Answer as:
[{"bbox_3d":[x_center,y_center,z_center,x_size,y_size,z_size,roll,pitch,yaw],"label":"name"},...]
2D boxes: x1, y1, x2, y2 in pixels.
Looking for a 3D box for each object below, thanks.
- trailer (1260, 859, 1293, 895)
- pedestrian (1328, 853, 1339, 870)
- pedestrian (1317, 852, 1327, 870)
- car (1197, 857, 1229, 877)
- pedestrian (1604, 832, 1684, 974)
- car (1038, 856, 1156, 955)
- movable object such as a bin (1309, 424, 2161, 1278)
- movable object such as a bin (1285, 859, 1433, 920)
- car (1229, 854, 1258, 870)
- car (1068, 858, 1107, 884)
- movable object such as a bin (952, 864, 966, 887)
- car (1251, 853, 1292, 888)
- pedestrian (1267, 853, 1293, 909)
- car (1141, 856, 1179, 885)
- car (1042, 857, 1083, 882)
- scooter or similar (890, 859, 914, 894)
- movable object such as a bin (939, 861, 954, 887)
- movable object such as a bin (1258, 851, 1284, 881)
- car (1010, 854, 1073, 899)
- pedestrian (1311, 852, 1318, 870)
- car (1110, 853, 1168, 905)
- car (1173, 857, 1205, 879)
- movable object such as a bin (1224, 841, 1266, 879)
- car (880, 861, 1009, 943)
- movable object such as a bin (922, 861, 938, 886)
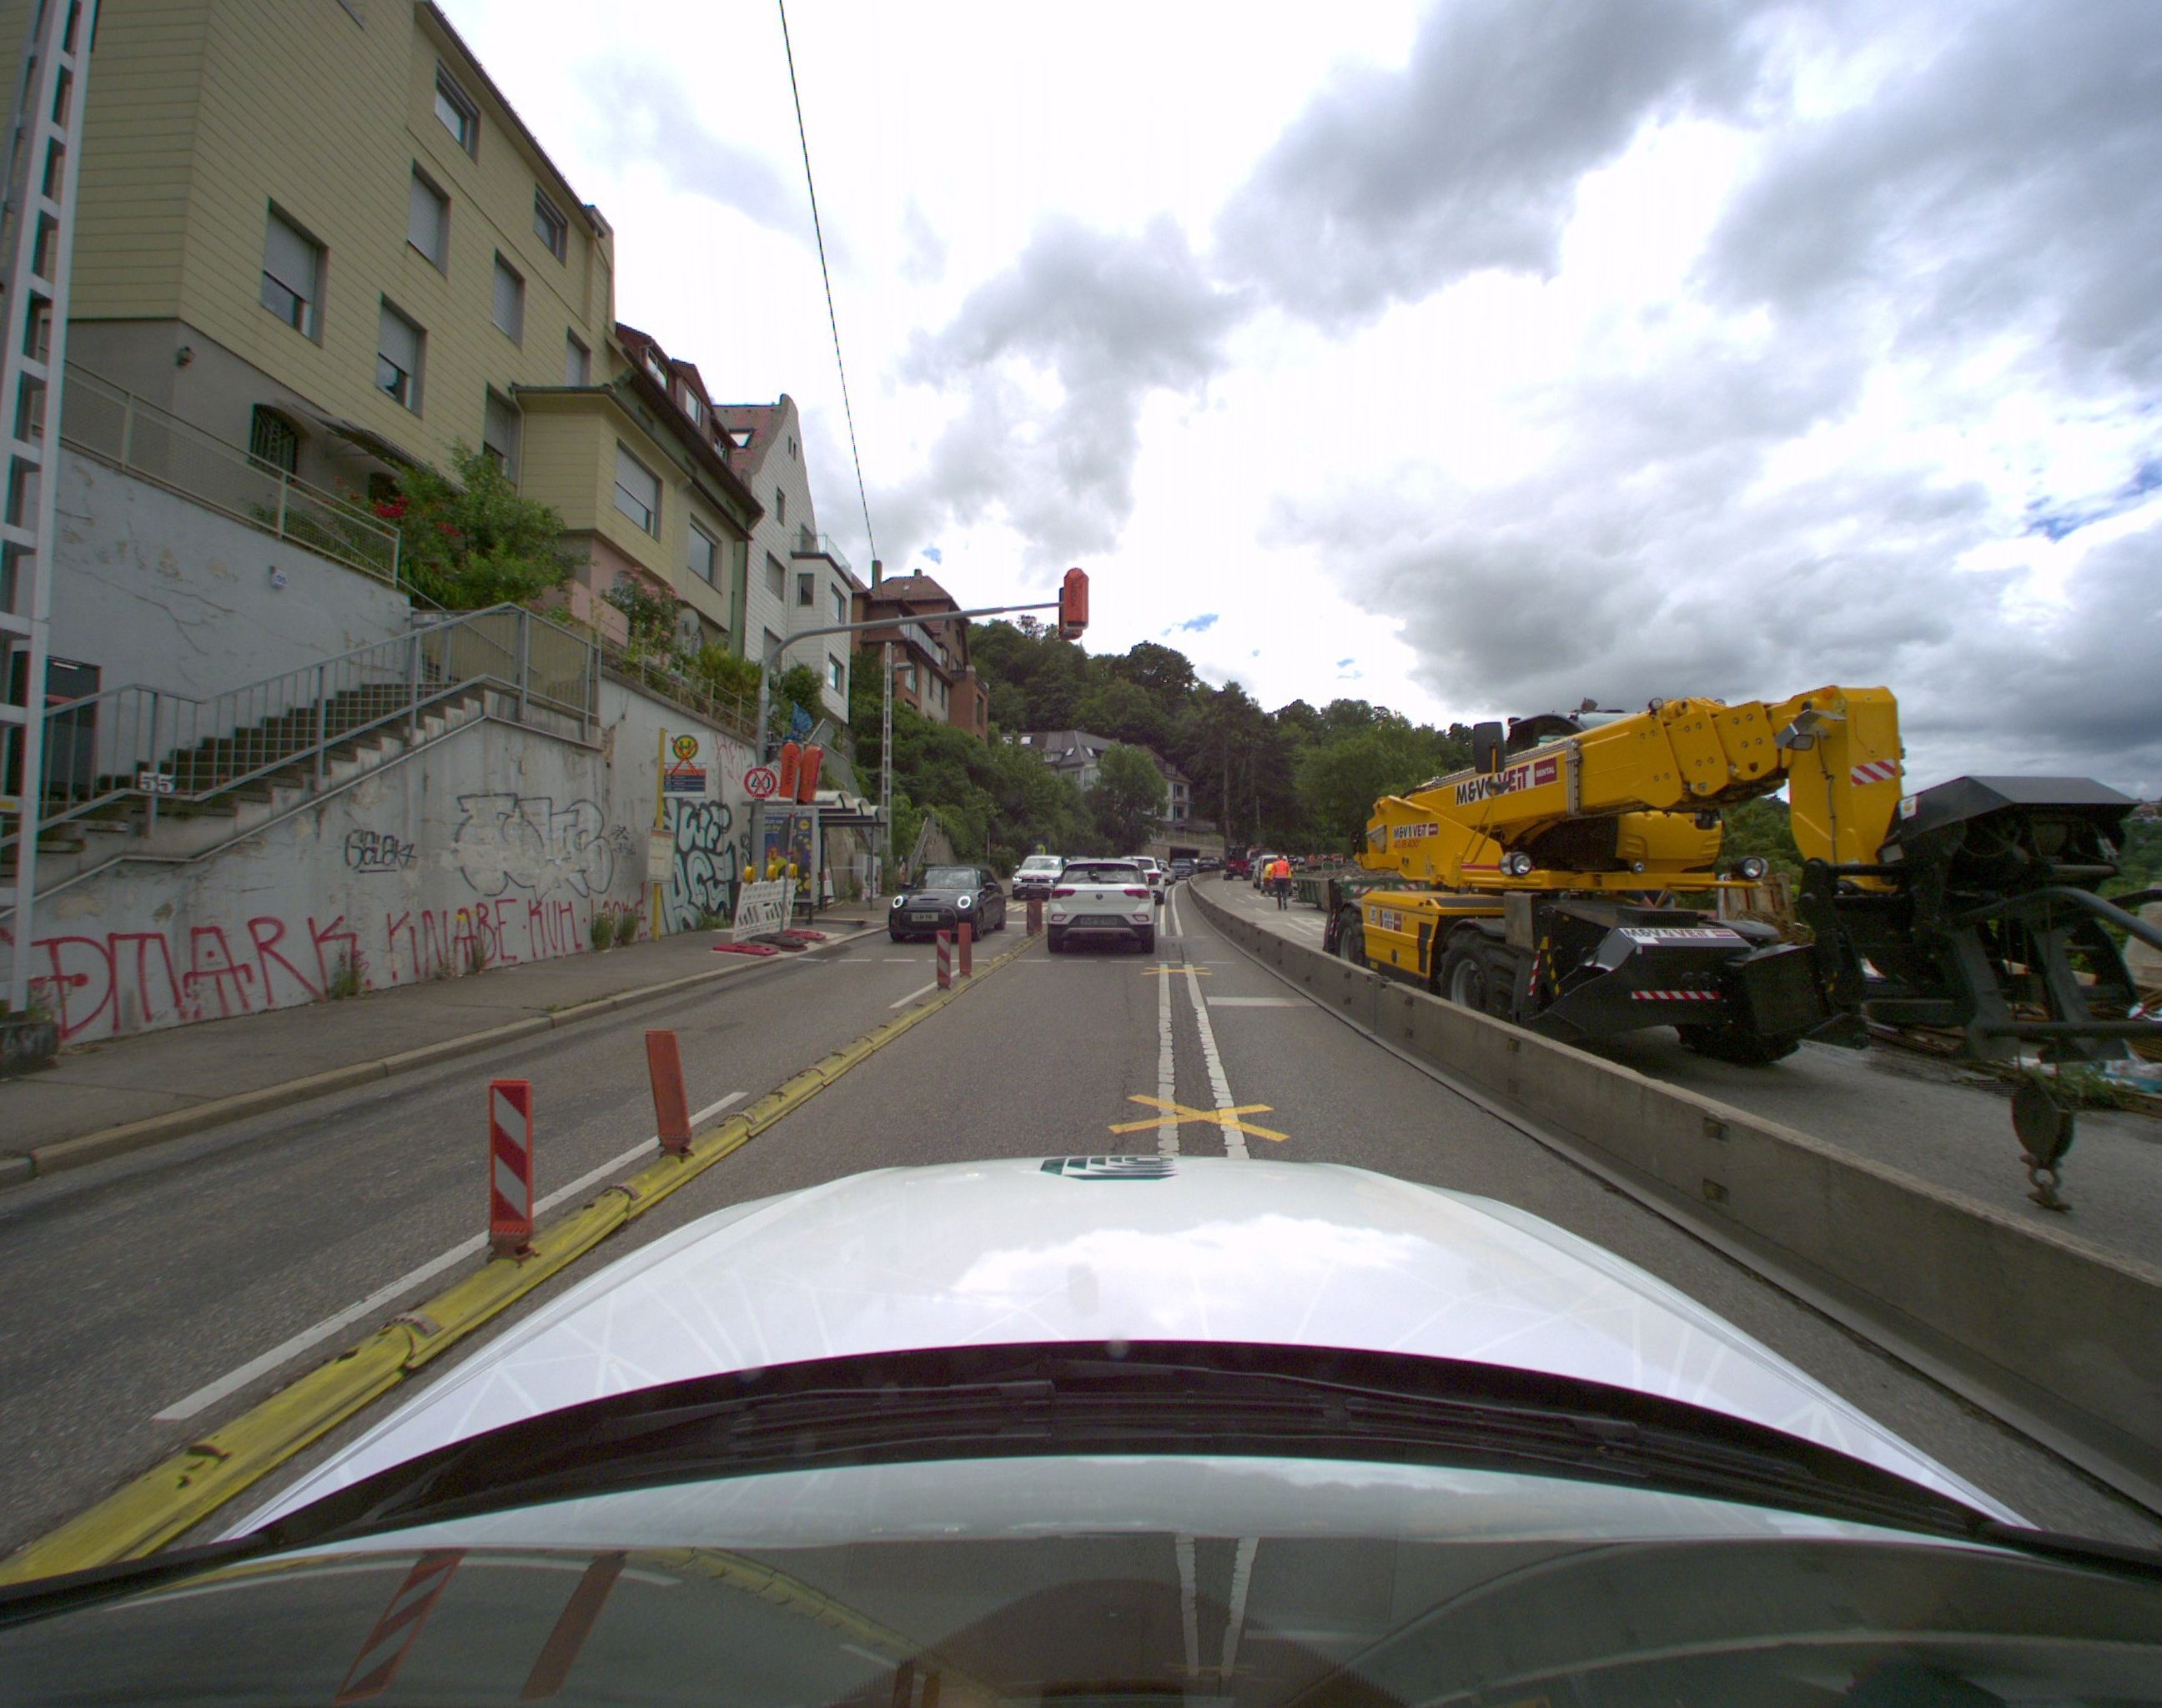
[{"bbox_3d":[8.539,0.981,35.724,1.280,1.475,3.645,0,0,11],"label":"trailer"},{"bbox_3d":[26.134,0.788,84.229,0.775,1.688,0.790,-1,-1,43],"label":"pedestrian"},{"bbox_3d":[25.812,0.745,87.240,0.868,1.822,0.883,-1,-1,27],"label":"pedestrian"},{"bbox_3d":[11.673,1.138,71.808,1.793,1.663,4.023,-2,-1,25],"label":"car"},{"bbox_3d":[7.361,0.620,10.667,0.688,1.795,0.538,0,0,-8],"label":"pedestrian"},{"bbox_3d":[0.430,0.814,14.712,1.801,1.531,4.006,0,0,6],"label":"car"},{"bbox_3d":[4.373,0.002,6.852,2.802,3.071,7.823,0,0,1],"label":"movable object such as a bin"},{"bbox_3d":[8.064,0.945,24.569,2.364,1.561,7.104,0,0,3],"label":"movable object such as a bin"},{"bbox_3d":[18.180,0.872,90.849,1.792,1.663,4.025,-2,-1,32],"label":"car"},{"bbox_3d":[0.445,0.959,47.696,1.716,1.420,3.830,-2,0,9],"label":"car"},{"bbox_3d":[-5.185,0.903,34.631,0.466,0.934,0.625,2,0,4],"label":"movable object such as a bin"},{"bbox_3d":[10.146,0.835,43.571,1.822,1.779,4.279,0,0,9],"label":"car"},{"bbox_3d":[6.224,0.821,25.476,0.642,1.701,0.851,1,0,4],"label":"pedestrian"},{"bbox_3d":[4.809,0.950,49.070,1.798,1.663,4.012,-1,-1,11],"label":"car"},{"bbox_3d":[-1.159,0.969,52.209,1.783,1.510,4.011,2,0,10],"label":"car"},{"bbox_3d":[-6.471,0.790,29.480,0.457,1.205,1.436,2,0,2],"label":"scooter or similar"},{"bbox_3d":[-5.720,0.847,34.687,0.466,1.053,0.625,2,0,4],"label":"movable object such as a bin"},{"bbox_3d":[13.016,0.794,55.798,1.690,1.943,4.179,0,0,12],"label":"movable object such as a bin"},{"bbox_3d":[-1.418,0.793,30.832,1.833,1.600,4.269,0,0,5],"label":"car"},{"bbox_3d":[24.570,0.742,85.625,0.685,1.906,0.829,-1,-1,15],"label":"pedestrian"},{"bbox_3d":[2.098,0.830,28.654,1.800,1.663,4.008,-1,-1,7],"label":"car"},{"bbox_3d":[8.224,1.036,61.601,1.781,1.510,4.017,-2,-1,16],"label":"car"},{"bbox_3d":[12.168,0.408,60.345,2.193,2.663,4.970,0,0,22],"label":"movable object such as a bin"},{"bbox_3d":[-2.615,0.879,16.451,1.663,1.430,3.592,-2,-1,5],"label":"car"},{"bbox_3d":[-6.430,0.831,34.719,0.466,1.053,0.625,2,0,4],"label":"movable object such as a bin"}]
